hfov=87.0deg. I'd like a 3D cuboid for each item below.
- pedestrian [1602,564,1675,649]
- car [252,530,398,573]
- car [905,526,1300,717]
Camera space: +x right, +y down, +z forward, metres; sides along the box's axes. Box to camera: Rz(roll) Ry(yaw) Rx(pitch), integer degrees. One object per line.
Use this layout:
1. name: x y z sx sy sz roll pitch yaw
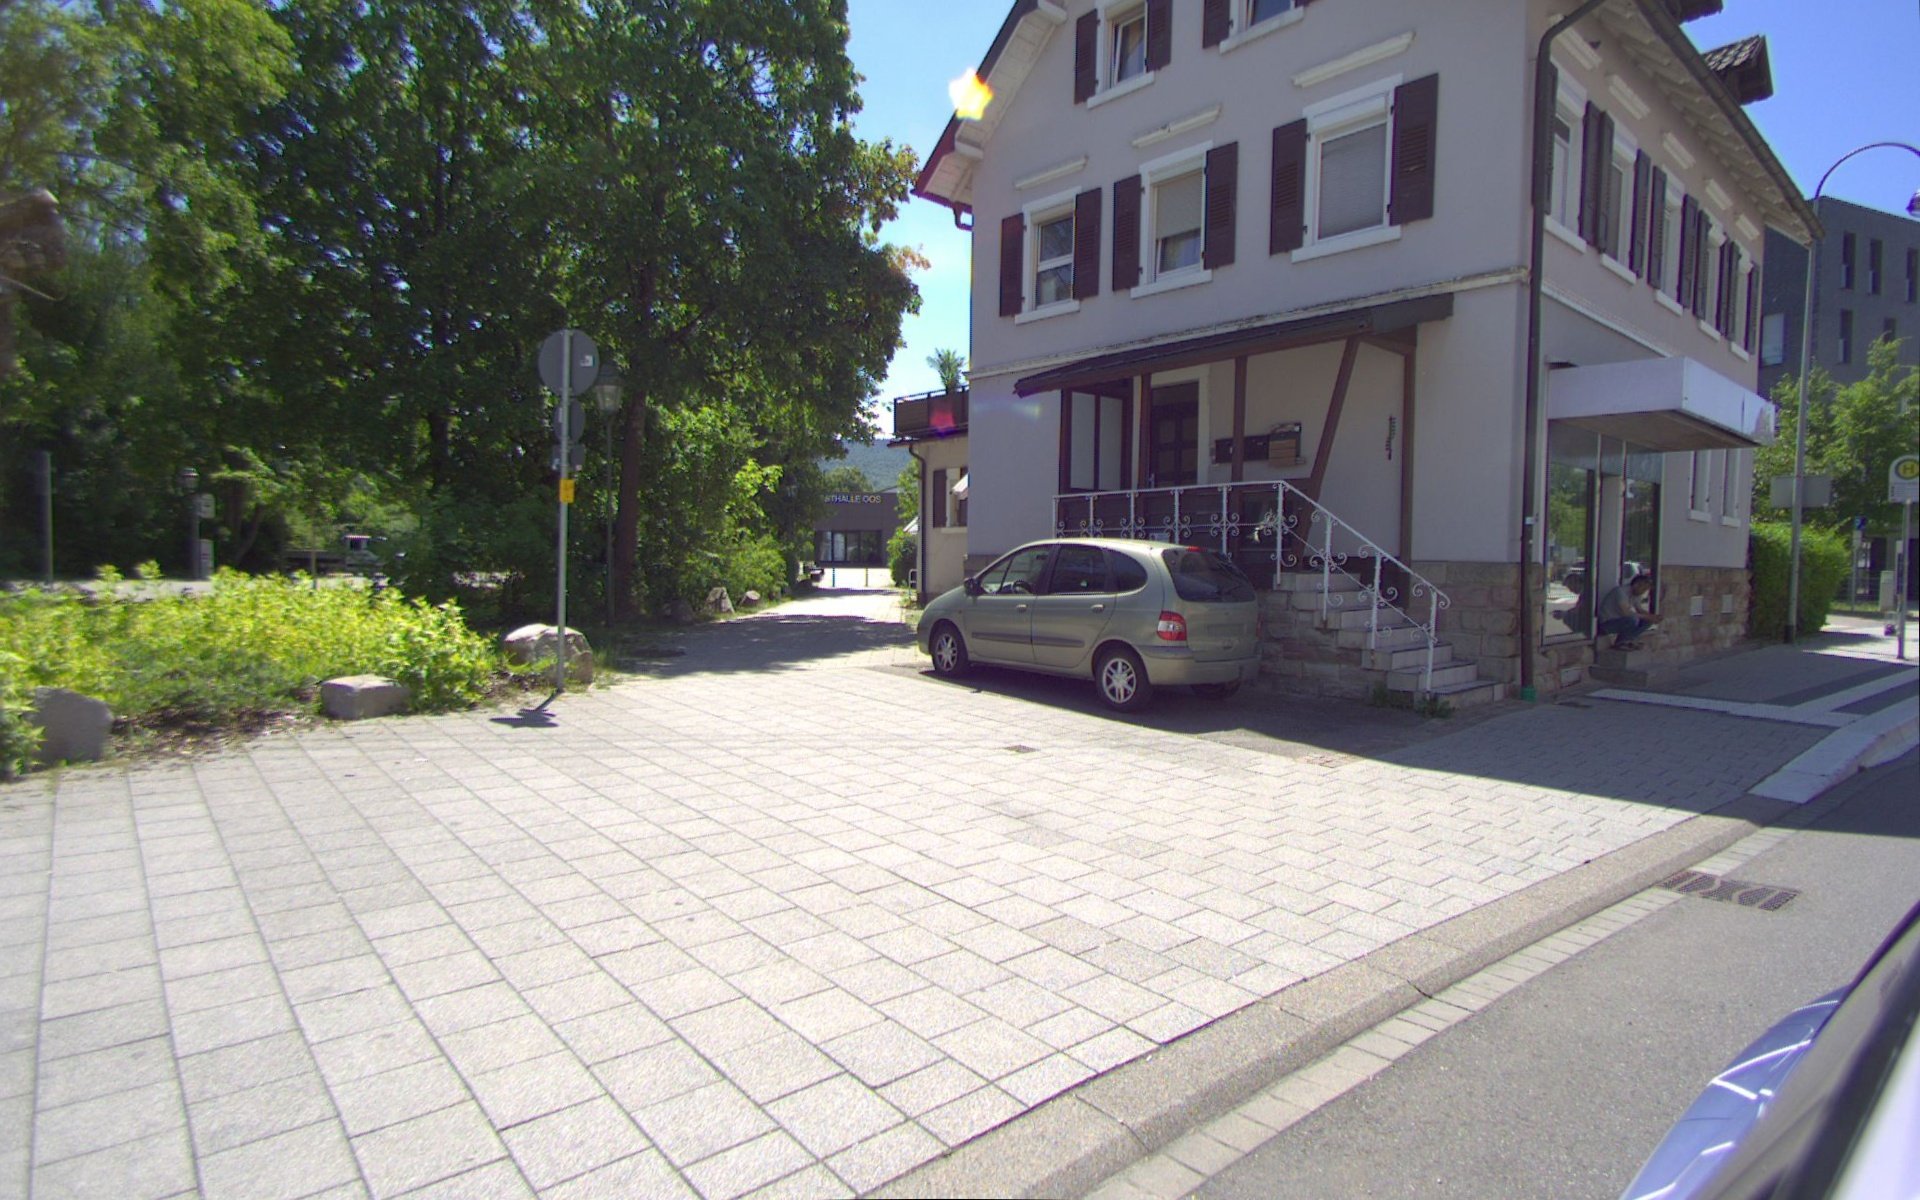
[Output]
1. pedestrian: 8.561 0.064 12.773 0.712 1.011 0.591 -1 4 -44
2. car: -35.612 -2.741 56.934 6.624 2.266 2.199 0 2 -11
3. car: 1.337 0.059 10.930 1.770 1.614 4.072 -1 5 -40
